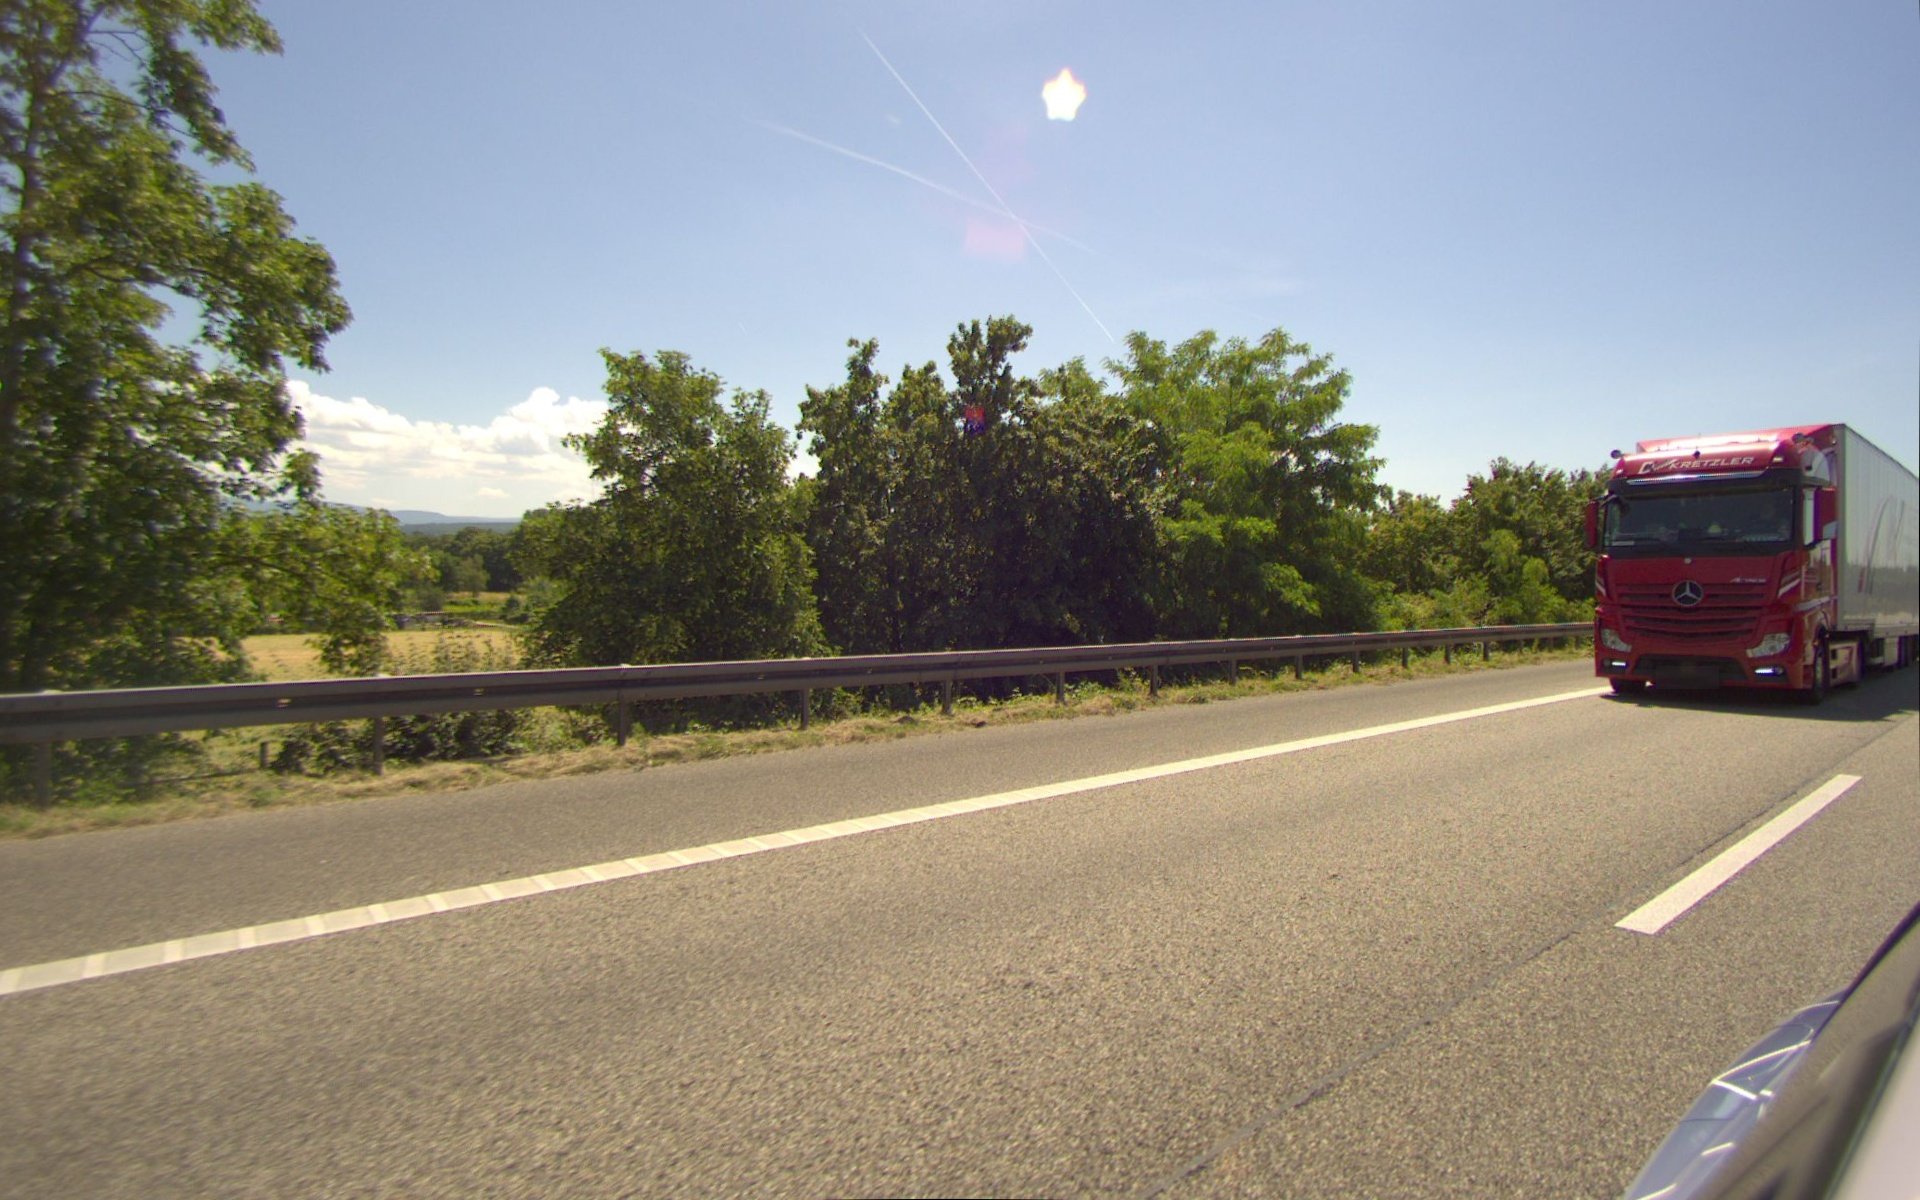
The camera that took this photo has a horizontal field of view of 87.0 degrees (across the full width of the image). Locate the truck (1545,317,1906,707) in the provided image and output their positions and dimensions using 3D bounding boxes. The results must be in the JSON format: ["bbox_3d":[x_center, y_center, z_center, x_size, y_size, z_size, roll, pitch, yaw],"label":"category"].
[{"bbox_3d":[12.511,-1.121,16.304,6.848,4.951,3.240,1,0,-40],"label":"truck"}]

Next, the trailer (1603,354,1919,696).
[{"bbox_3d":[17.110,-1.064,20.242,13.780,4.899,3.275,0,0,-41],"label":"trailer"}]
